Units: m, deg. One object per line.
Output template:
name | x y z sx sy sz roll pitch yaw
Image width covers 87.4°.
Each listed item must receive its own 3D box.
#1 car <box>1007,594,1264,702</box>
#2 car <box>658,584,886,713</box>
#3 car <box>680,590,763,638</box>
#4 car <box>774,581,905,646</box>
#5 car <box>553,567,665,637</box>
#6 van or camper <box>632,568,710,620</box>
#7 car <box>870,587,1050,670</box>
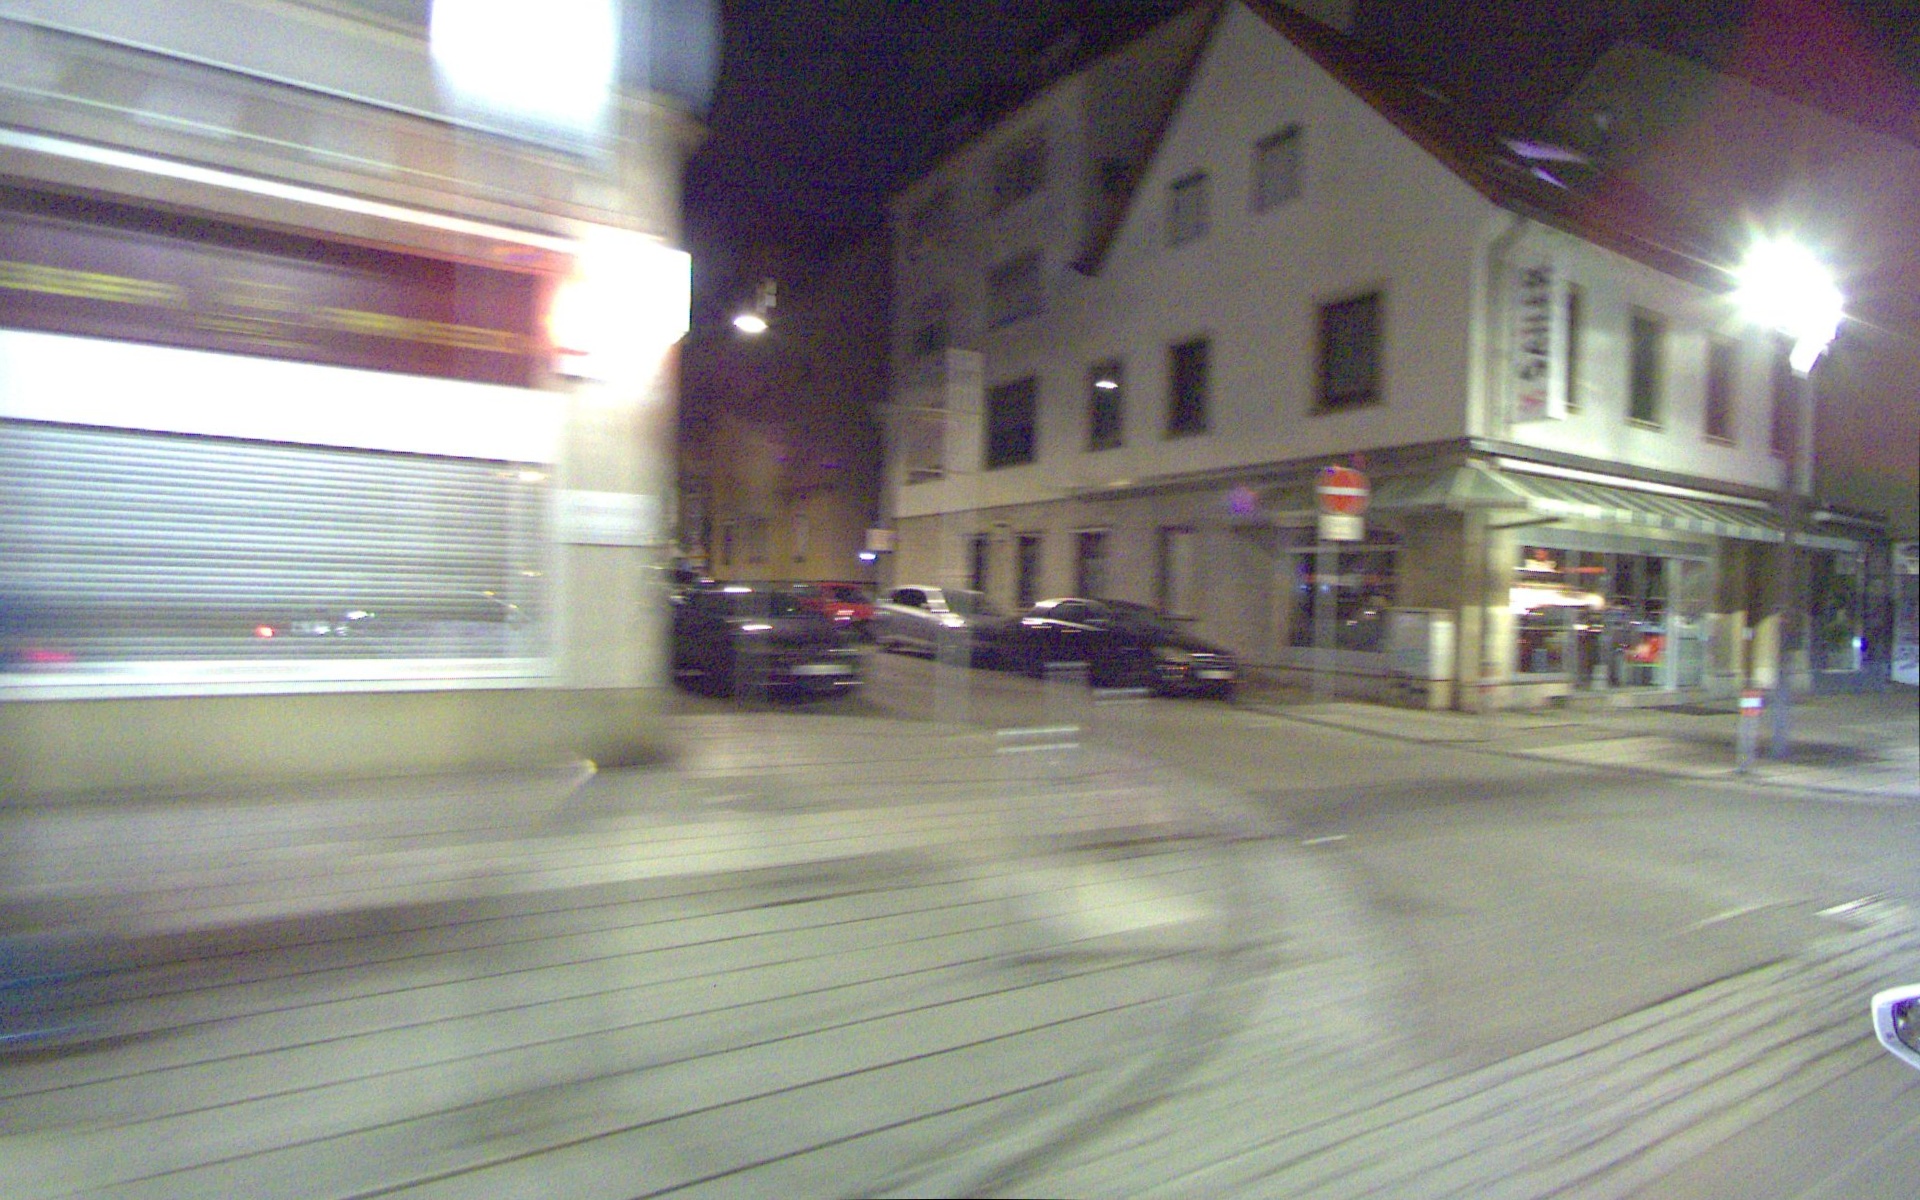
car | 2.643 0.695 15.999 1.790 1.394 3.964 3 0 -32
car | -2.806 0.531 14.154 1.759 1.420 4.418 -1 2 -31
car | -8.145 0.452 34.137 1.593 1.410 3.647 3 0 -32
car | -3.147 0.313 25.610 1.731 1.410 3.964 3 0 -32
car | -9.242 0.014 26.236 1.977 1.670 3.965 -1 1 -32
van or camper | -11.396 -0.294 39.398 1.593 1.828 4.939 3 0 -32
car | -0.114 0.532 20.465 1.790 1.410 3.964 3 0 -32
